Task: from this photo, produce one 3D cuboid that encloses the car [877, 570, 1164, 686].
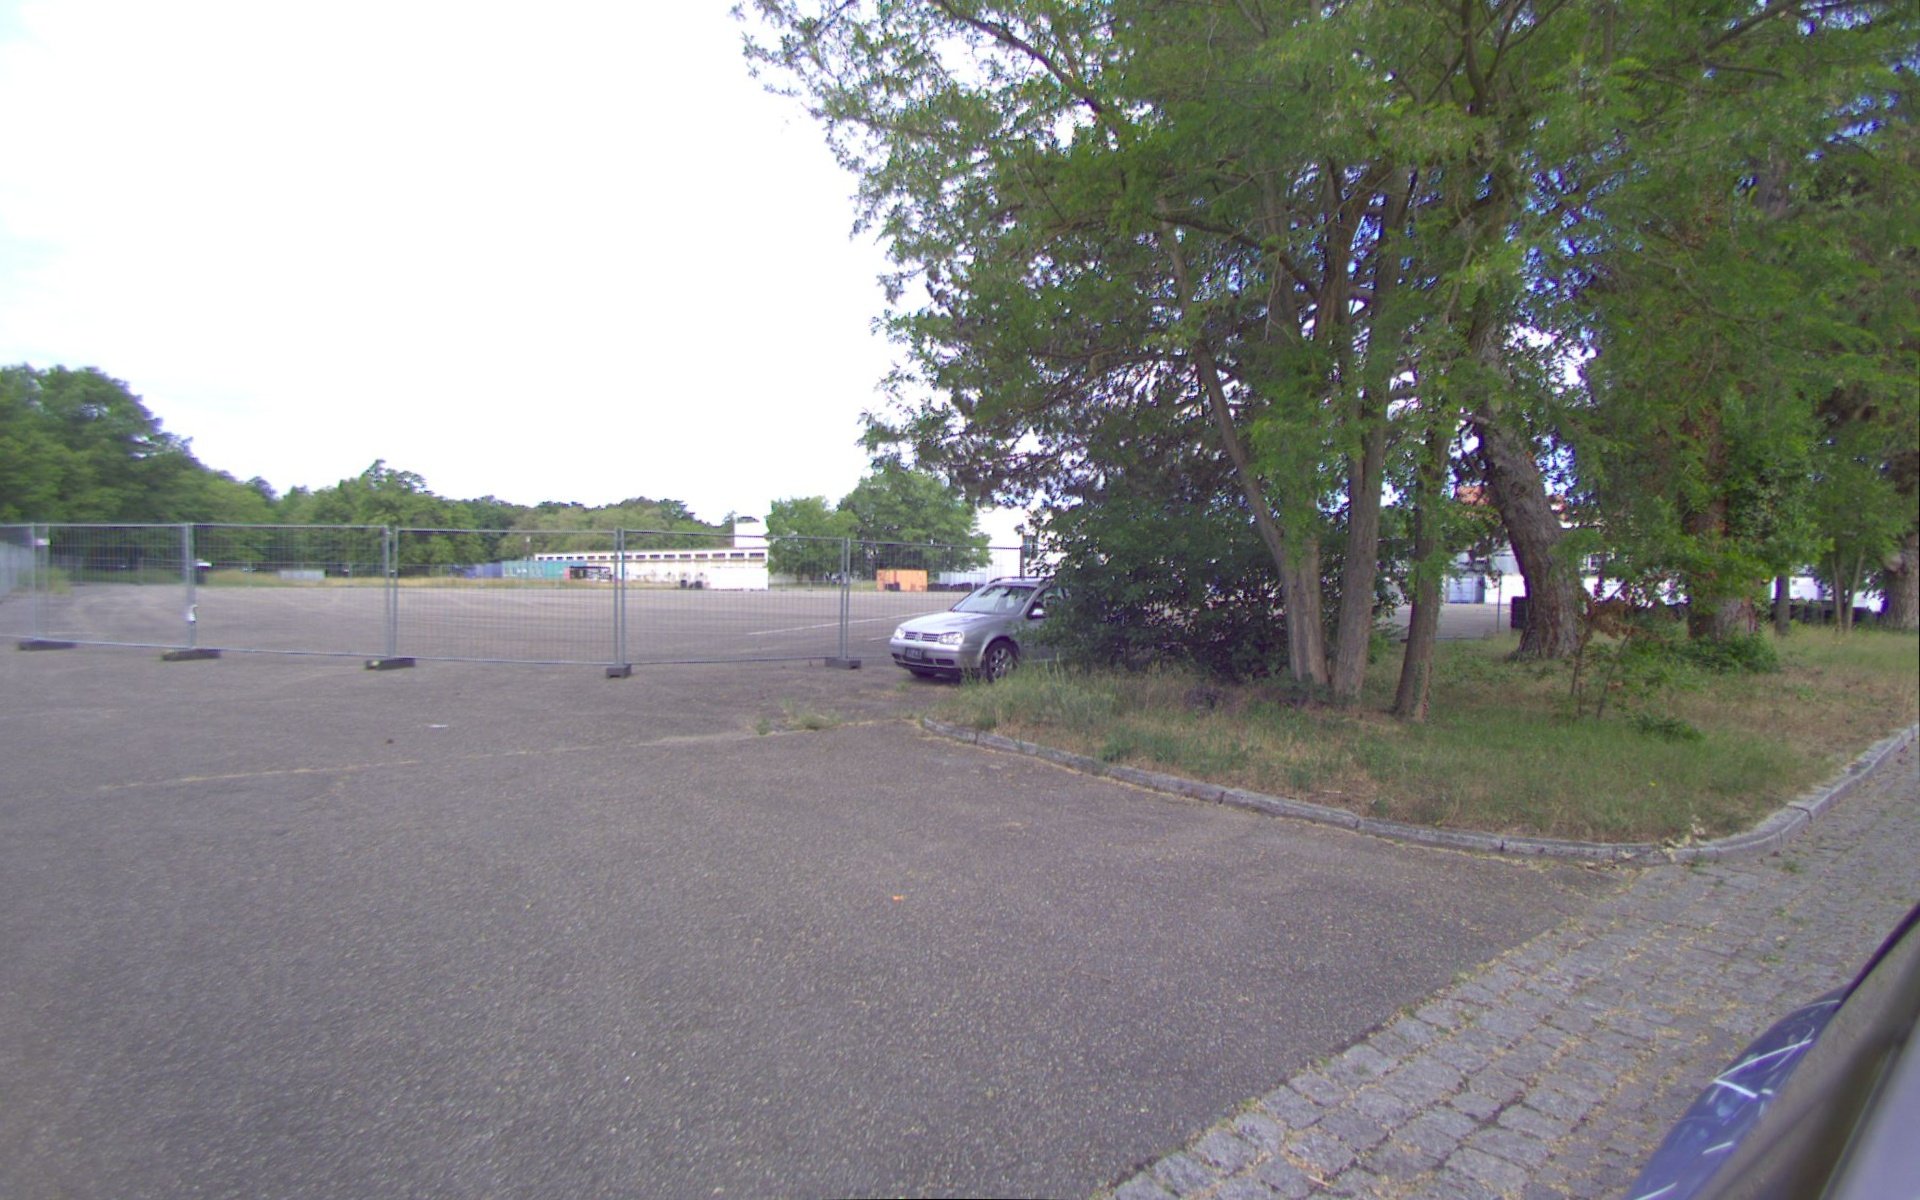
[{"bbox_3d":[1.023,0.321,14.920,4.415,1.469,1.675,0,1,-44],"label":"car"}]
